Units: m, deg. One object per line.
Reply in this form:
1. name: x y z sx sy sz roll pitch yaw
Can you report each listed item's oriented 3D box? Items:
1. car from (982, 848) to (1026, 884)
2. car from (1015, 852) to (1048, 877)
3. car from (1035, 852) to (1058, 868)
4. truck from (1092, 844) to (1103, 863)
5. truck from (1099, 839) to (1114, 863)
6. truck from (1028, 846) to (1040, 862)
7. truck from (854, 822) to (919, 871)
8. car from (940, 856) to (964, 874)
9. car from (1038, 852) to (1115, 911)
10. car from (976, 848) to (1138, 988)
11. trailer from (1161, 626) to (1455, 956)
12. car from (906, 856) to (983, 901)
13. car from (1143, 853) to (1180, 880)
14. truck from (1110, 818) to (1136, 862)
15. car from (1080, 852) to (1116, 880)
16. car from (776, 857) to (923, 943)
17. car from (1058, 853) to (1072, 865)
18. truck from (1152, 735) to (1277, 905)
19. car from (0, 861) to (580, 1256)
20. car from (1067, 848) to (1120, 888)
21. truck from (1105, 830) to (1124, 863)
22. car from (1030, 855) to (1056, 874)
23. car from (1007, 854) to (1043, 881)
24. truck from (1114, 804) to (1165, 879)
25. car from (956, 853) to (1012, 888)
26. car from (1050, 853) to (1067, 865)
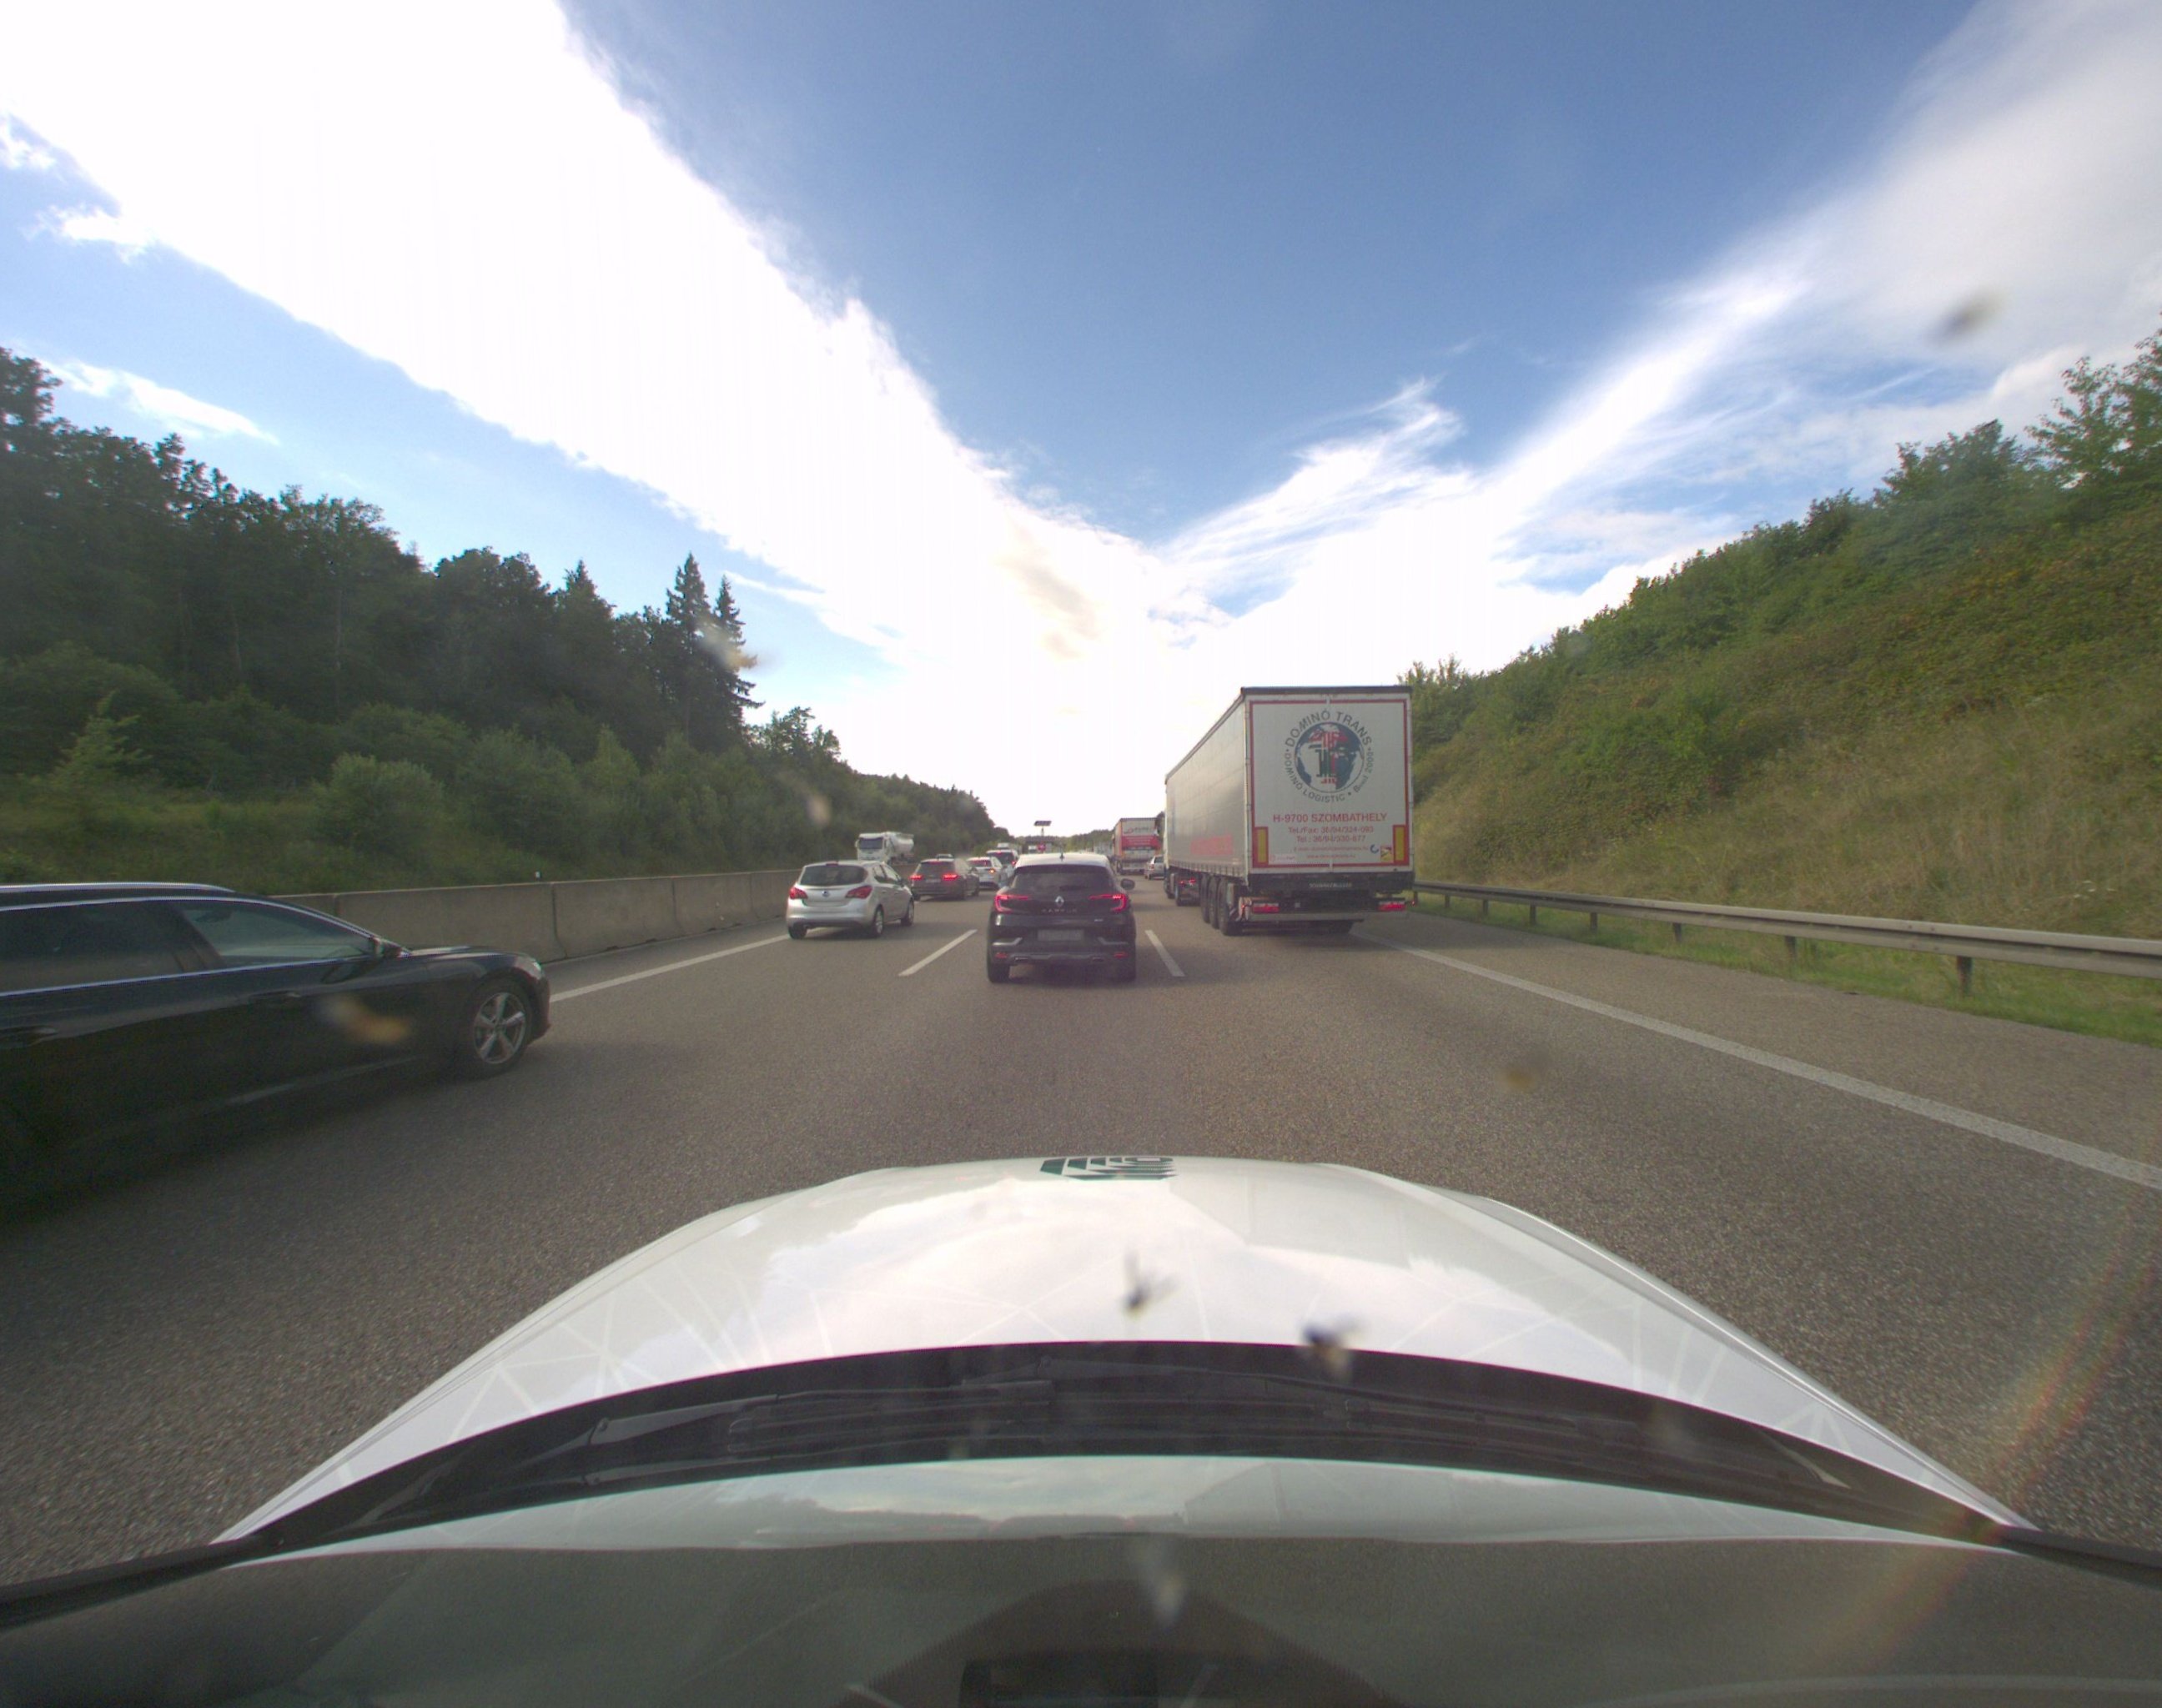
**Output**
1. car: -4.061 0.634 43.697 1.905 1.789 4.417 0 -1 0
2. car: -3.461 0.767 58.082 1.986 1.722 4.001 0 -1 1
3. car: -3.441 0.579 82.092 1.986 1.613 4.001 -1 0 1
4. truck: 4.903 -0.017 240.997 3.154 5.505 12.742 0 -1 2
5. truck: 5.522 -0.544 177.741 3.154 5.159 12.742 0 -1 2
6. truck: -14.481 0.010 251.857 3.077 5.101 7.141 0 -1 1
7. truck: -18.612 -0.625 79.092 2.922 4.354 13.910 0 -1 0
8. car: -13.784 1.129 87.039 1.846 1.810 4.324 0 0 1
9. car: -0.067 0.737 23.090 1.986 1.514 4.001 0 -1 1
10. car: -0.155 0.728 11.157 1.797 1.552 4.004 -1 0 3
11. trailer: 3.873 -0.911 18.205 2.992 4.661 13.291 -1 0 1
12. car: -4.759 0.813 29.132 1.836 1.456 4.749 0 0 1
13. car: 4.720 0.707 48.054 1.799 1.533 3.925 0 -1 0
14. truck: 5.366 -1.672 106.587 3.154 5.505 12.742 0 -1 2
15. car: 0.979 0.664 46.511 1.986 1.514 4.001 0 -1 1
16. car: -4.524 0.823 16.573 1.741 1.465 4.041 -1 0 1
17. car: -2.340 0.744 119.787 1.986 1.613 4.001 -1 0 1
18. truck: 3.964 -0.944 25.545 2.987 4.667 5.940 -1 0 1
19. car: -5.031 0.805 4.099 1.875 1.471 4.854 0 0 2
20. car: 0.527 0.555 33.025 1.986 1.514 4.001 0 -1 1
21. truck: 5.904 -1.192 142.827 3.153 5.505 12.747 0 -1 3
22. car: -3.346 0.882 72.078 1.986 1.613 4.001 0 -1 1
23. car: -3.527 0.837 51.712 1.848 1.641 3.927 0 -1 2
24. truck: 4.226 -0.810 61.428 3.352 5.044 12.742 0 -1 2
25. car: -4.270 0.720 36.520 1.797 1.461 4.310 -1 0 2
26. car: -2.973 0.645 107.353 1.986 1.613 4.001 -1 0 1
